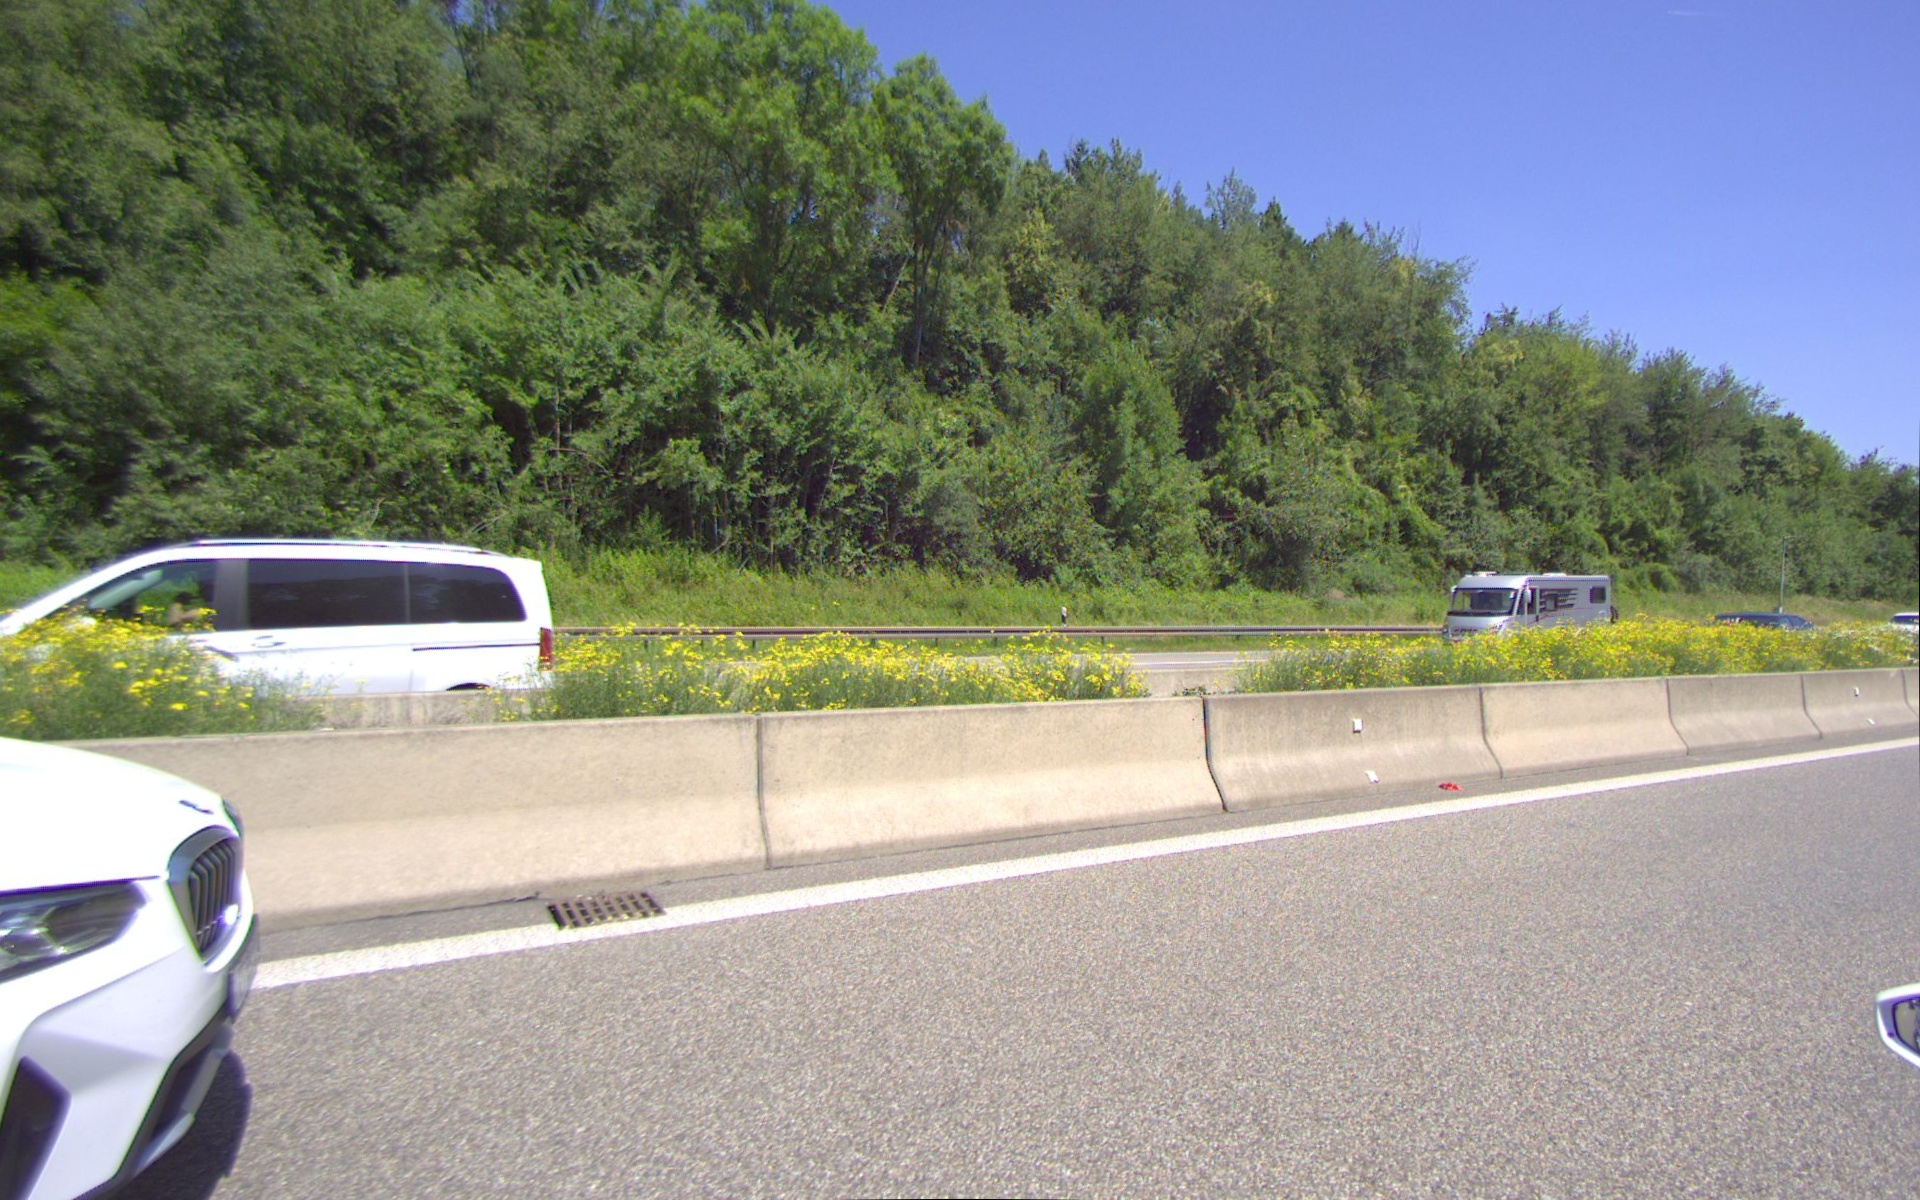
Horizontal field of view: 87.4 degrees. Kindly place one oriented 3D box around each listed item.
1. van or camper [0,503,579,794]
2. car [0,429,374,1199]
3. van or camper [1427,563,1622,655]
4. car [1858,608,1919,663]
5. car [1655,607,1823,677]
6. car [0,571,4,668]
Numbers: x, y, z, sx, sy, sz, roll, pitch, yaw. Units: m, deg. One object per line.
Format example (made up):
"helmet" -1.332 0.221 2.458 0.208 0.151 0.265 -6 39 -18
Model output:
"van or camper" -5.866 0.392 8.660 4.537 2.040 1.873 2 -1 -32
"car" -3.675 0.548 1.413 4.899 1.717 1.854 1 0 -31
"van or camper" 17.848 0.353 31.629 6.851 2.594 2.176 2 -1 -30
"car" 37.805 1.432 39.767 4.512 2.040 1.985 2 -1 -29
"car" 18.404 0.958 23.712 3.809 1.506 1.801 1 0 -29
"car" -11.664 0.469 8.801 4.351 1.713 1.983 2 -1 -31
